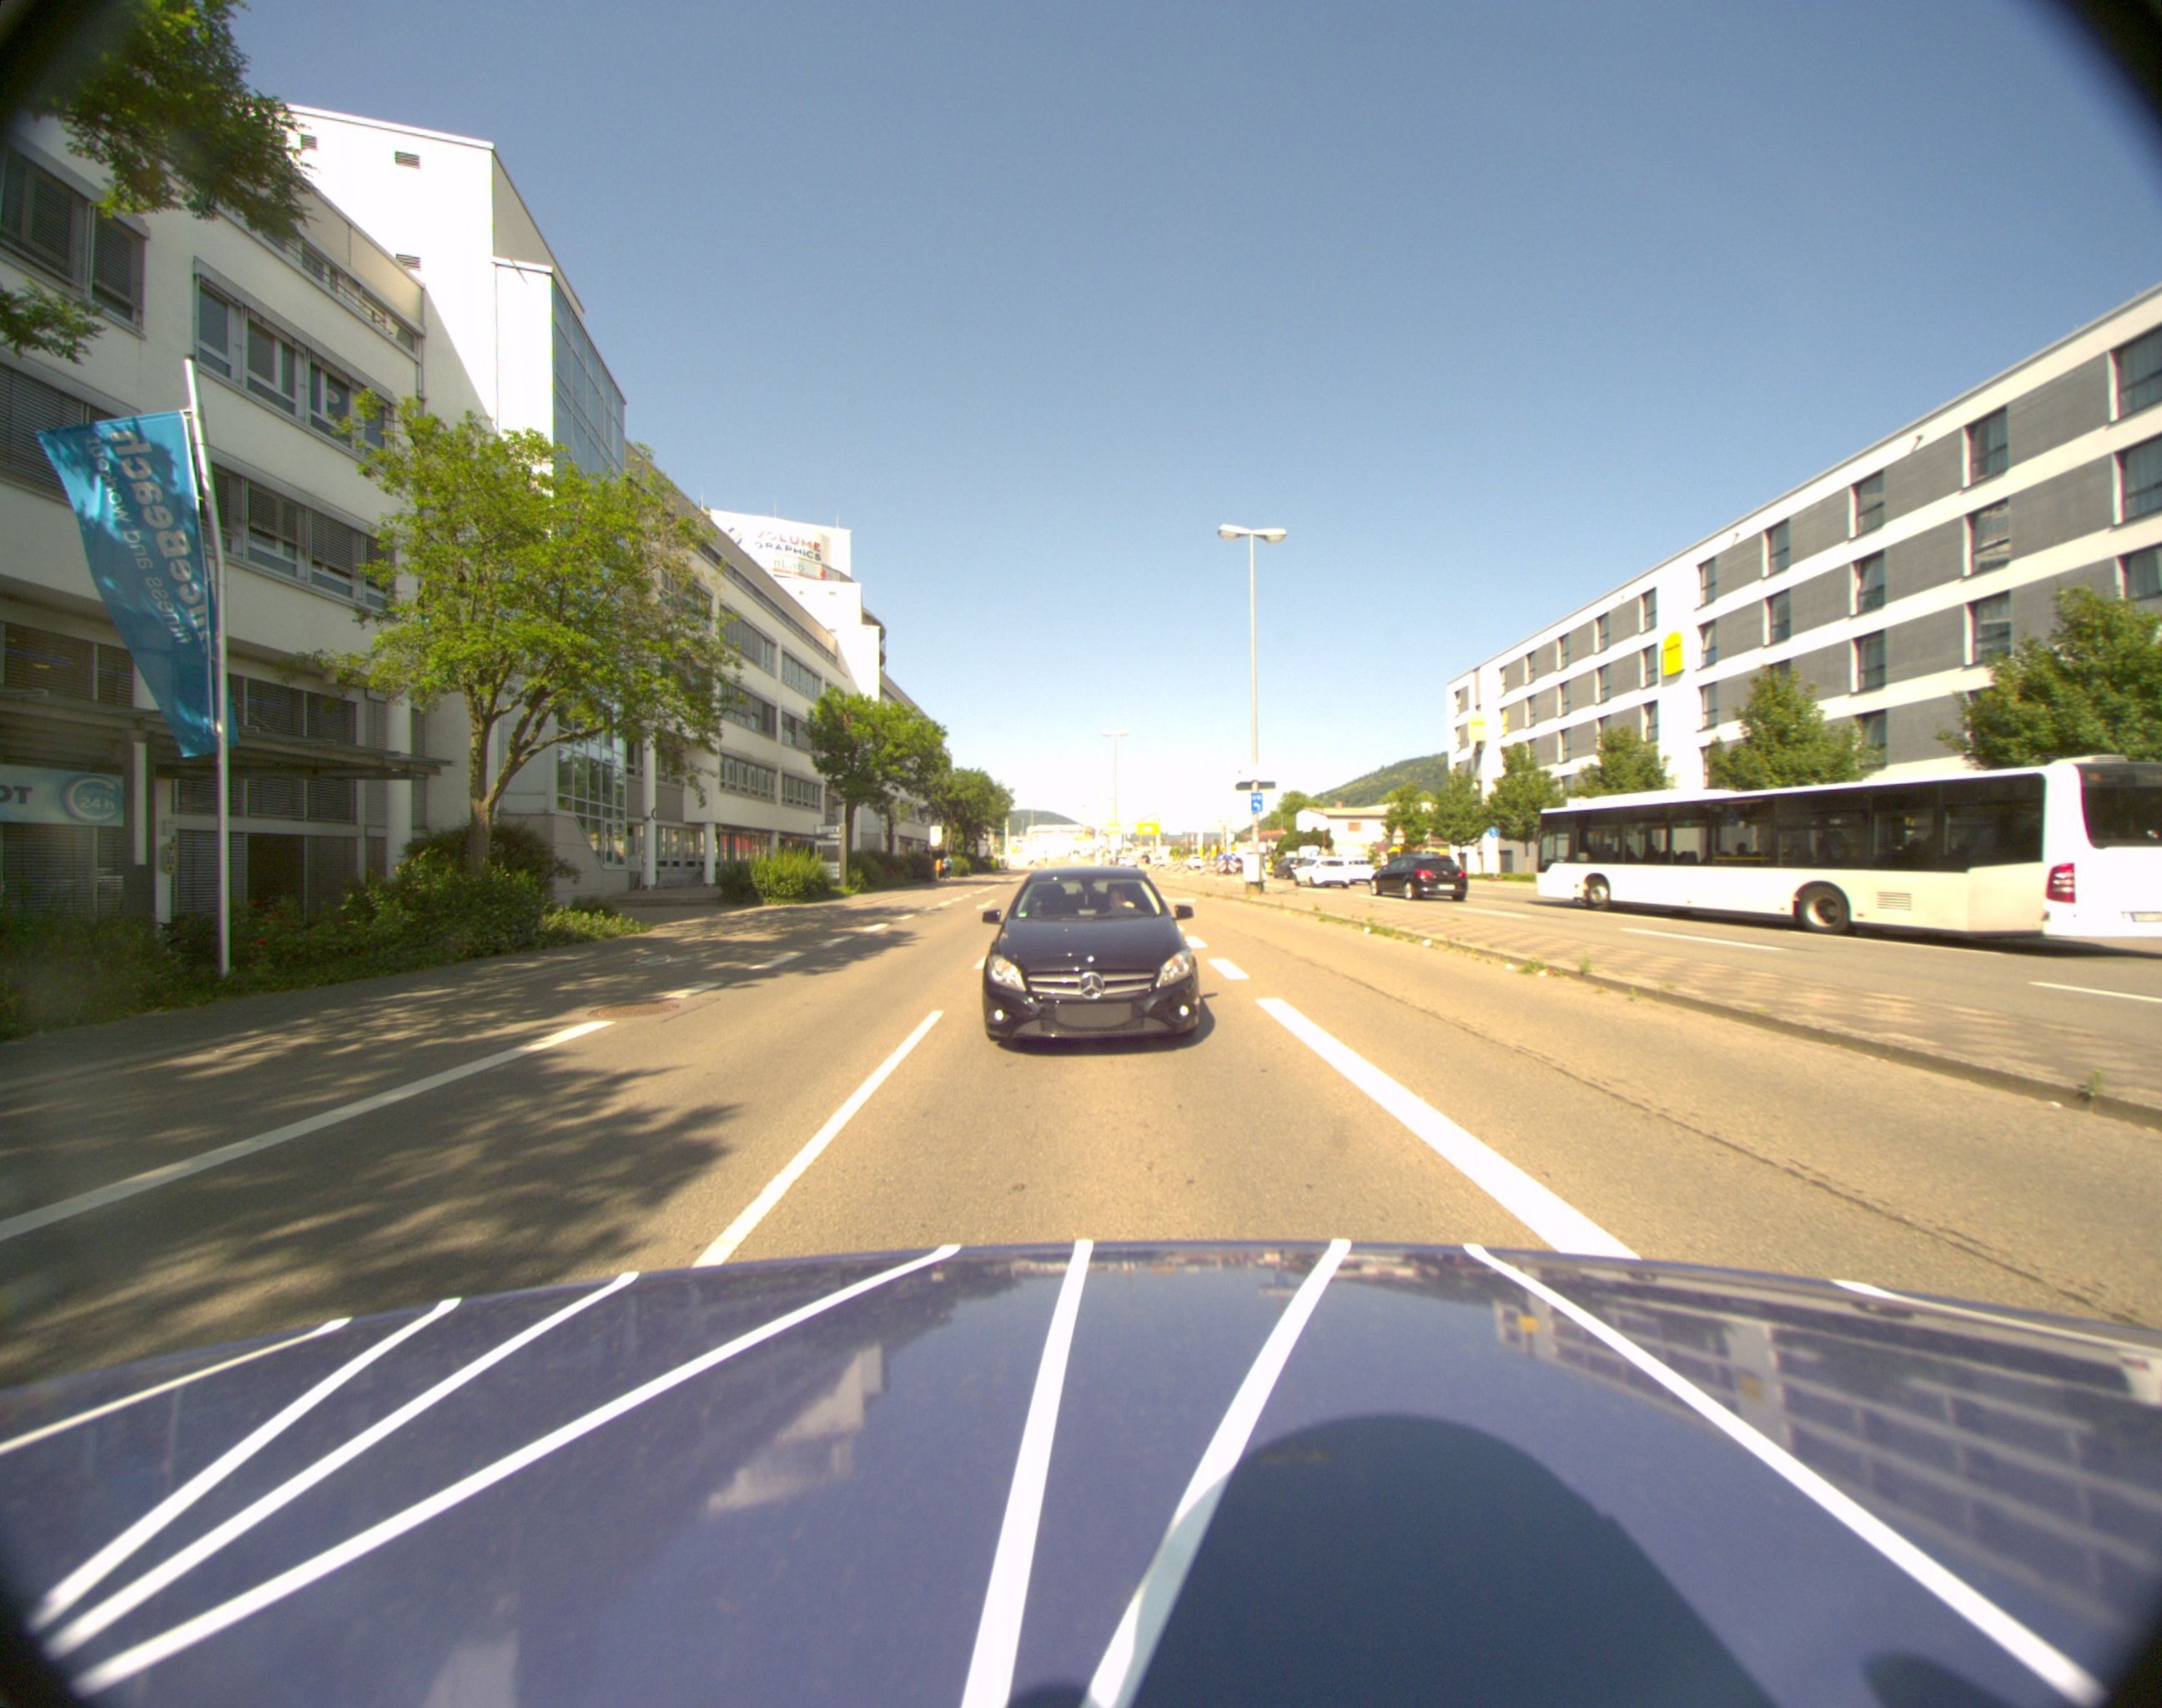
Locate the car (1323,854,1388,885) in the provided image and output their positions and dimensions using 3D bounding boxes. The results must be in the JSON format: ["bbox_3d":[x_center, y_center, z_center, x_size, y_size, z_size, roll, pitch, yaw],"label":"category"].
[{"bbox_3d":[14.484,0.794,40.307,1.859,1.530,3.977,0,0,-3],"label":"car"}]

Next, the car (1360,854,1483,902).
[{"bbox_3d":[11.392,0.737,25.866,1.998,1.424,4.890,-1,0,0],"label":"car"}]

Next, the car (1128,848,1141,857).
[{"bbox_3d":[11.078,-0.354,158.013,1.999,1.725,3.998,-1,0,-6],"label":"car"}]

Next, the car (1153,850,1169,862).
[{"bbox_3d":[12.935,0.285,123.086,1.999,2.002,3.999,0,0,-1],"label":"car"}]

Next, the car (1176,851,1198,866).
[{"bbox_3d":[12.665,0.512,91.426,1.998,1.702,4.891,-1,0,1],"label":"car"}]

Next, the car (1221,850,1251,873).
[{"bbox_3d":[14.535,0.638,71.356,1.998,2.002,3.999,-2,1,1],"label":"car"}]

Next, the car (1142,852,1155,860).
[{"bbox_3d":[12.390,0.401,139.186,1.815,1.328,3.937,-1,0,-3],"label":"car"}]

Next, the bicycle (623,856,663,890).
[{"bbox_3d":[-18.053,0.763,31.332,0.506,1.346,1.884,-1,0,1],"label":"bicycle"}]

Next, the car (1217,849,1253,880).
[{"bbox_3d":[10.849,0.712,53.754,1.679,2.002,4.164,-2,1,1],"label":"car"}]

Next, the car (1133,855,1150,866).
[{"bbox_3d":[8.536,0.907,107.325,1.999,1.530,3.999,-1,0,-2],"label":"car"}]

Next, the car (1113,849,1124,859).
[{"bbox_3d":[8.015,-0.107,162.462,1.998,2.002,3.999,-2,1,1],"label":"car"}]

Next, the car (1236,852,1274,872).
[{"bbox_3d":[13.962,0.636,61.321,1.998,1.514,4.891,-1,0,1],"label":"car"}]

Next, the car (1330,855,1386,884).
[{"bbox_3d":[16.419,0.882,45.236,1.719,1.609,3.590,-1,0,-6],"label":"car"}]

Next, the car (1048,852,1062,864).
[{"bbox_3d":[-4.534,0.677,132.043,1.998,2.002,4.000,-2,1,2],"label":"car"}]

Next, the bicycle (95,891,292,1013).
[{"bbox_3d":[-11.255,1.183,9.744,0.506,1.321,1.883,0,0,-8],"label":"bicycle"}]

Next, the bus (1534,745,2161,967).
[{"bbox_3d":[14.867,0.012,16.531,2.745,3.061,11.974,1,0,0],"label":"bus"}]

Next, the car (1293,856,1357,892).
[{"bbox_3d":[11.329,0.876,35.541,1.763,1.443,4.000,-2,1,2],"label":"car"}]

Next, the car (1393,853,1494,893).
[{"bbox_3d":[15.273,0.745,32.368,1.998,1.514,4.891,-1,0,1],"label":"car"}]

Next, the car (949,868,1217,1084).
[{"bbox_3d":[0.041,0.921,7.799,1.905,1.431,4.693,-1,0,1],"label":"car"}]

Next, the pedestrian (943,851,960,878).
[{"bbox_3d":[-9.164,0.760,53.900,0.942,1.875,1.289,2,1,0],"label":"pedestrian"}]

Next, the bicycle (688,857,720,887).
[{"bbox_3d":[-17.712,0.811,35.729,0.506,1.346,1.884,-1,0,1],"label":"bicycle"}]
